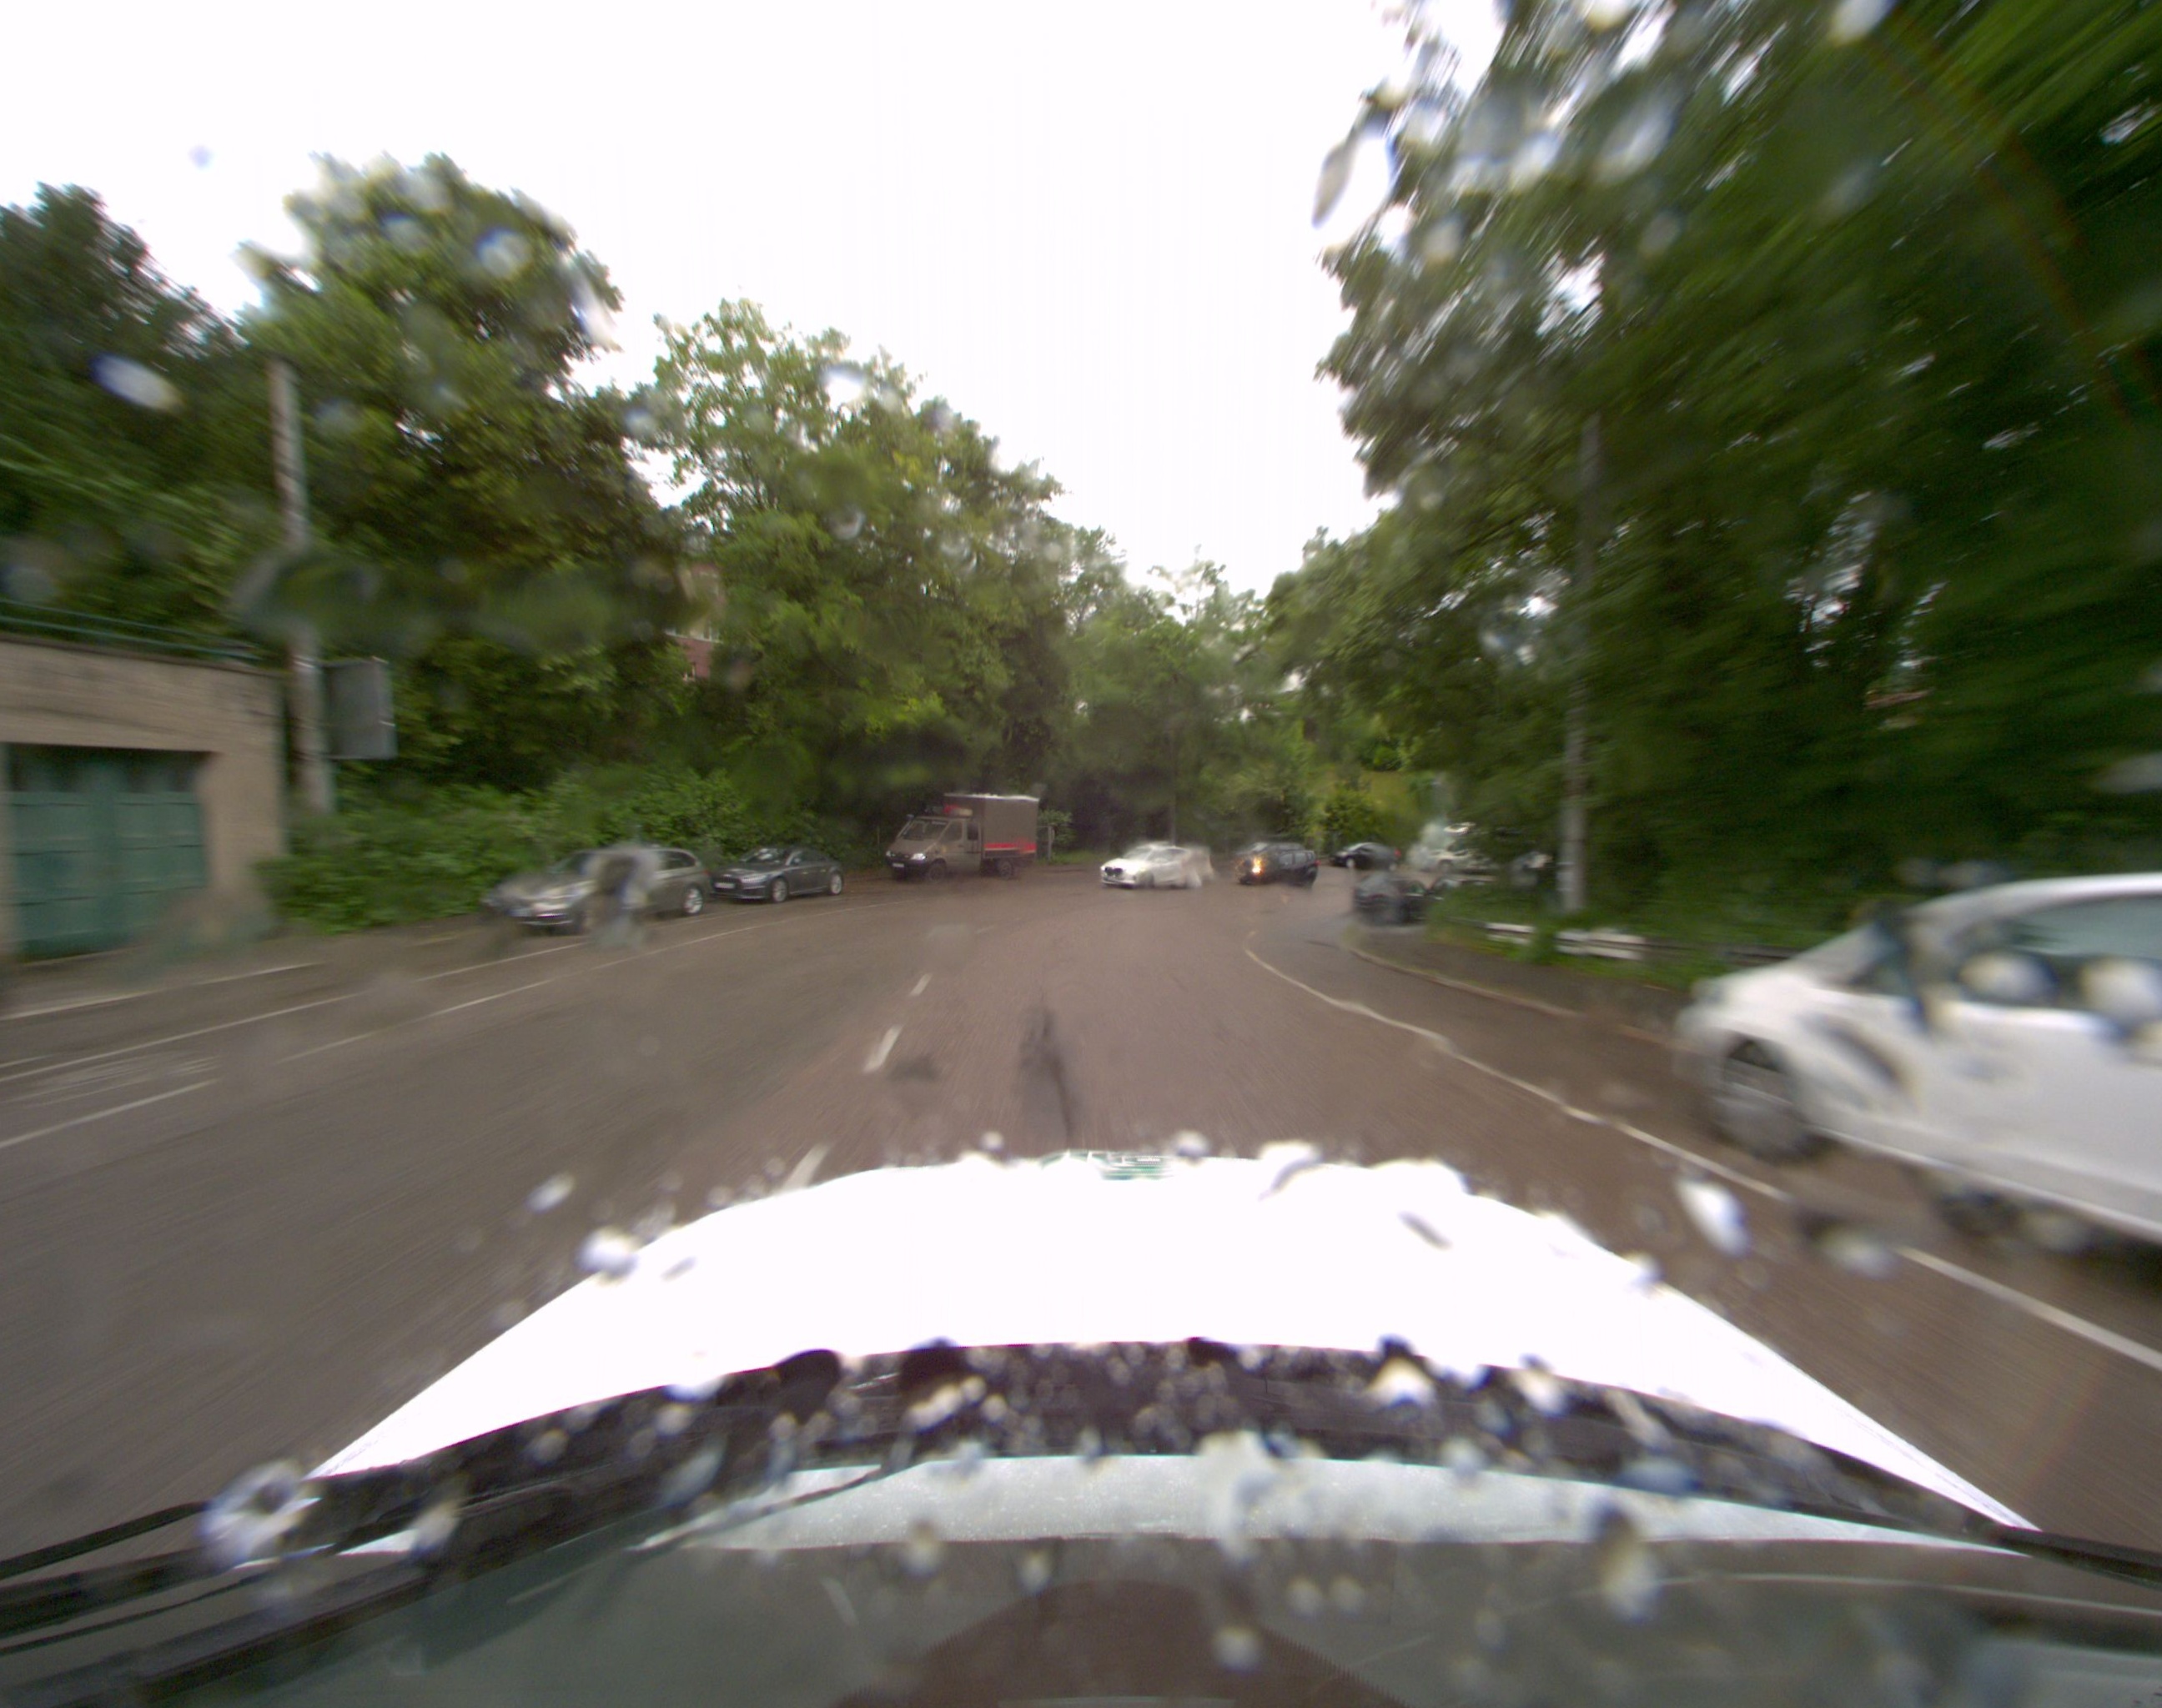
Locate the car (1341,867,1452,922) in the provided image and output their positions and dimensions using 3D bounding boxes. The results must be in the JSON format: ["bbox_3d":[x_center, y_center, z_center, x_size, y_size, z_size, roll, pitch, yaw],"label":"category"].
[{"bbox_3d":[10.192,1.244,26.179,4.055,1.464,1.635,1,5,-44],"label":"car"}]

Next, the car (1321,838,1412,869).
[{"bbox_3d":[15.492,-0.042,44.260,4.299,1.355,1.754,2,6,-11],"label":"car"}]

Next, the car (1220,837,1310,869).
[{"bbox_3d":[9.477,-0.054,41.943,4.320,1.464,1.770,1,6,-25],"label":"car"}]

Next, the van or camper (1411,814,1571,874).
[{"bbox_3d":[22.520,-0.576,44.992,7.613,2.930,2.202,2,6,-1],"label":"van or camper"}]

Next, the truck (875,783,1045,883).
[{"bbox_3d":[-4.060,-0.732,28.932,2.014,3.102,6.655,5,3,31],"label":"truck"}]

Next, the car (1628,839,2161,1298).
[{"bbox_3d":[4.281,0.714,3.184,1.583,1.502,3.658,1,-1,-7],"label":"car"}]

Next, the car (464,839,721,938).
[{"bbox_3d":[-8.943,0.522,15.471,1.690,1.498,4.540,1,2,8],"label":"car"}]

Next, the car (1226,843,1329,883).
[{"bbox_3d":[8.446,0.403,34.994,4.095,1.518,1.751,2,3,-28],"label":"car"}]

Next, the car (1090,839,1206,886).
[{"bbox_3d":[2.559,0.310,30.187,1.782,1.569,4.482,4,2,44],"label":"car"}]

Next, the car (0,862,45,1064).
[{"bbox_3d":[-8.824,0.894,4.087,1.784,1.498,4.364,-1,2,-5],"label":"car"}]

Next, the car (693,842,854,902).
[{"bbox_3d":[-7.765,0.381,21.051,1.687,1.275,4.264,2,2,15],"label":"car"}]

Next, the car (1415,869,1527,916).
[{"bbox_3d":[14.180,1.370,29.591,3.738,1.407,1.676,1,5,-28],"label":"car"}]
